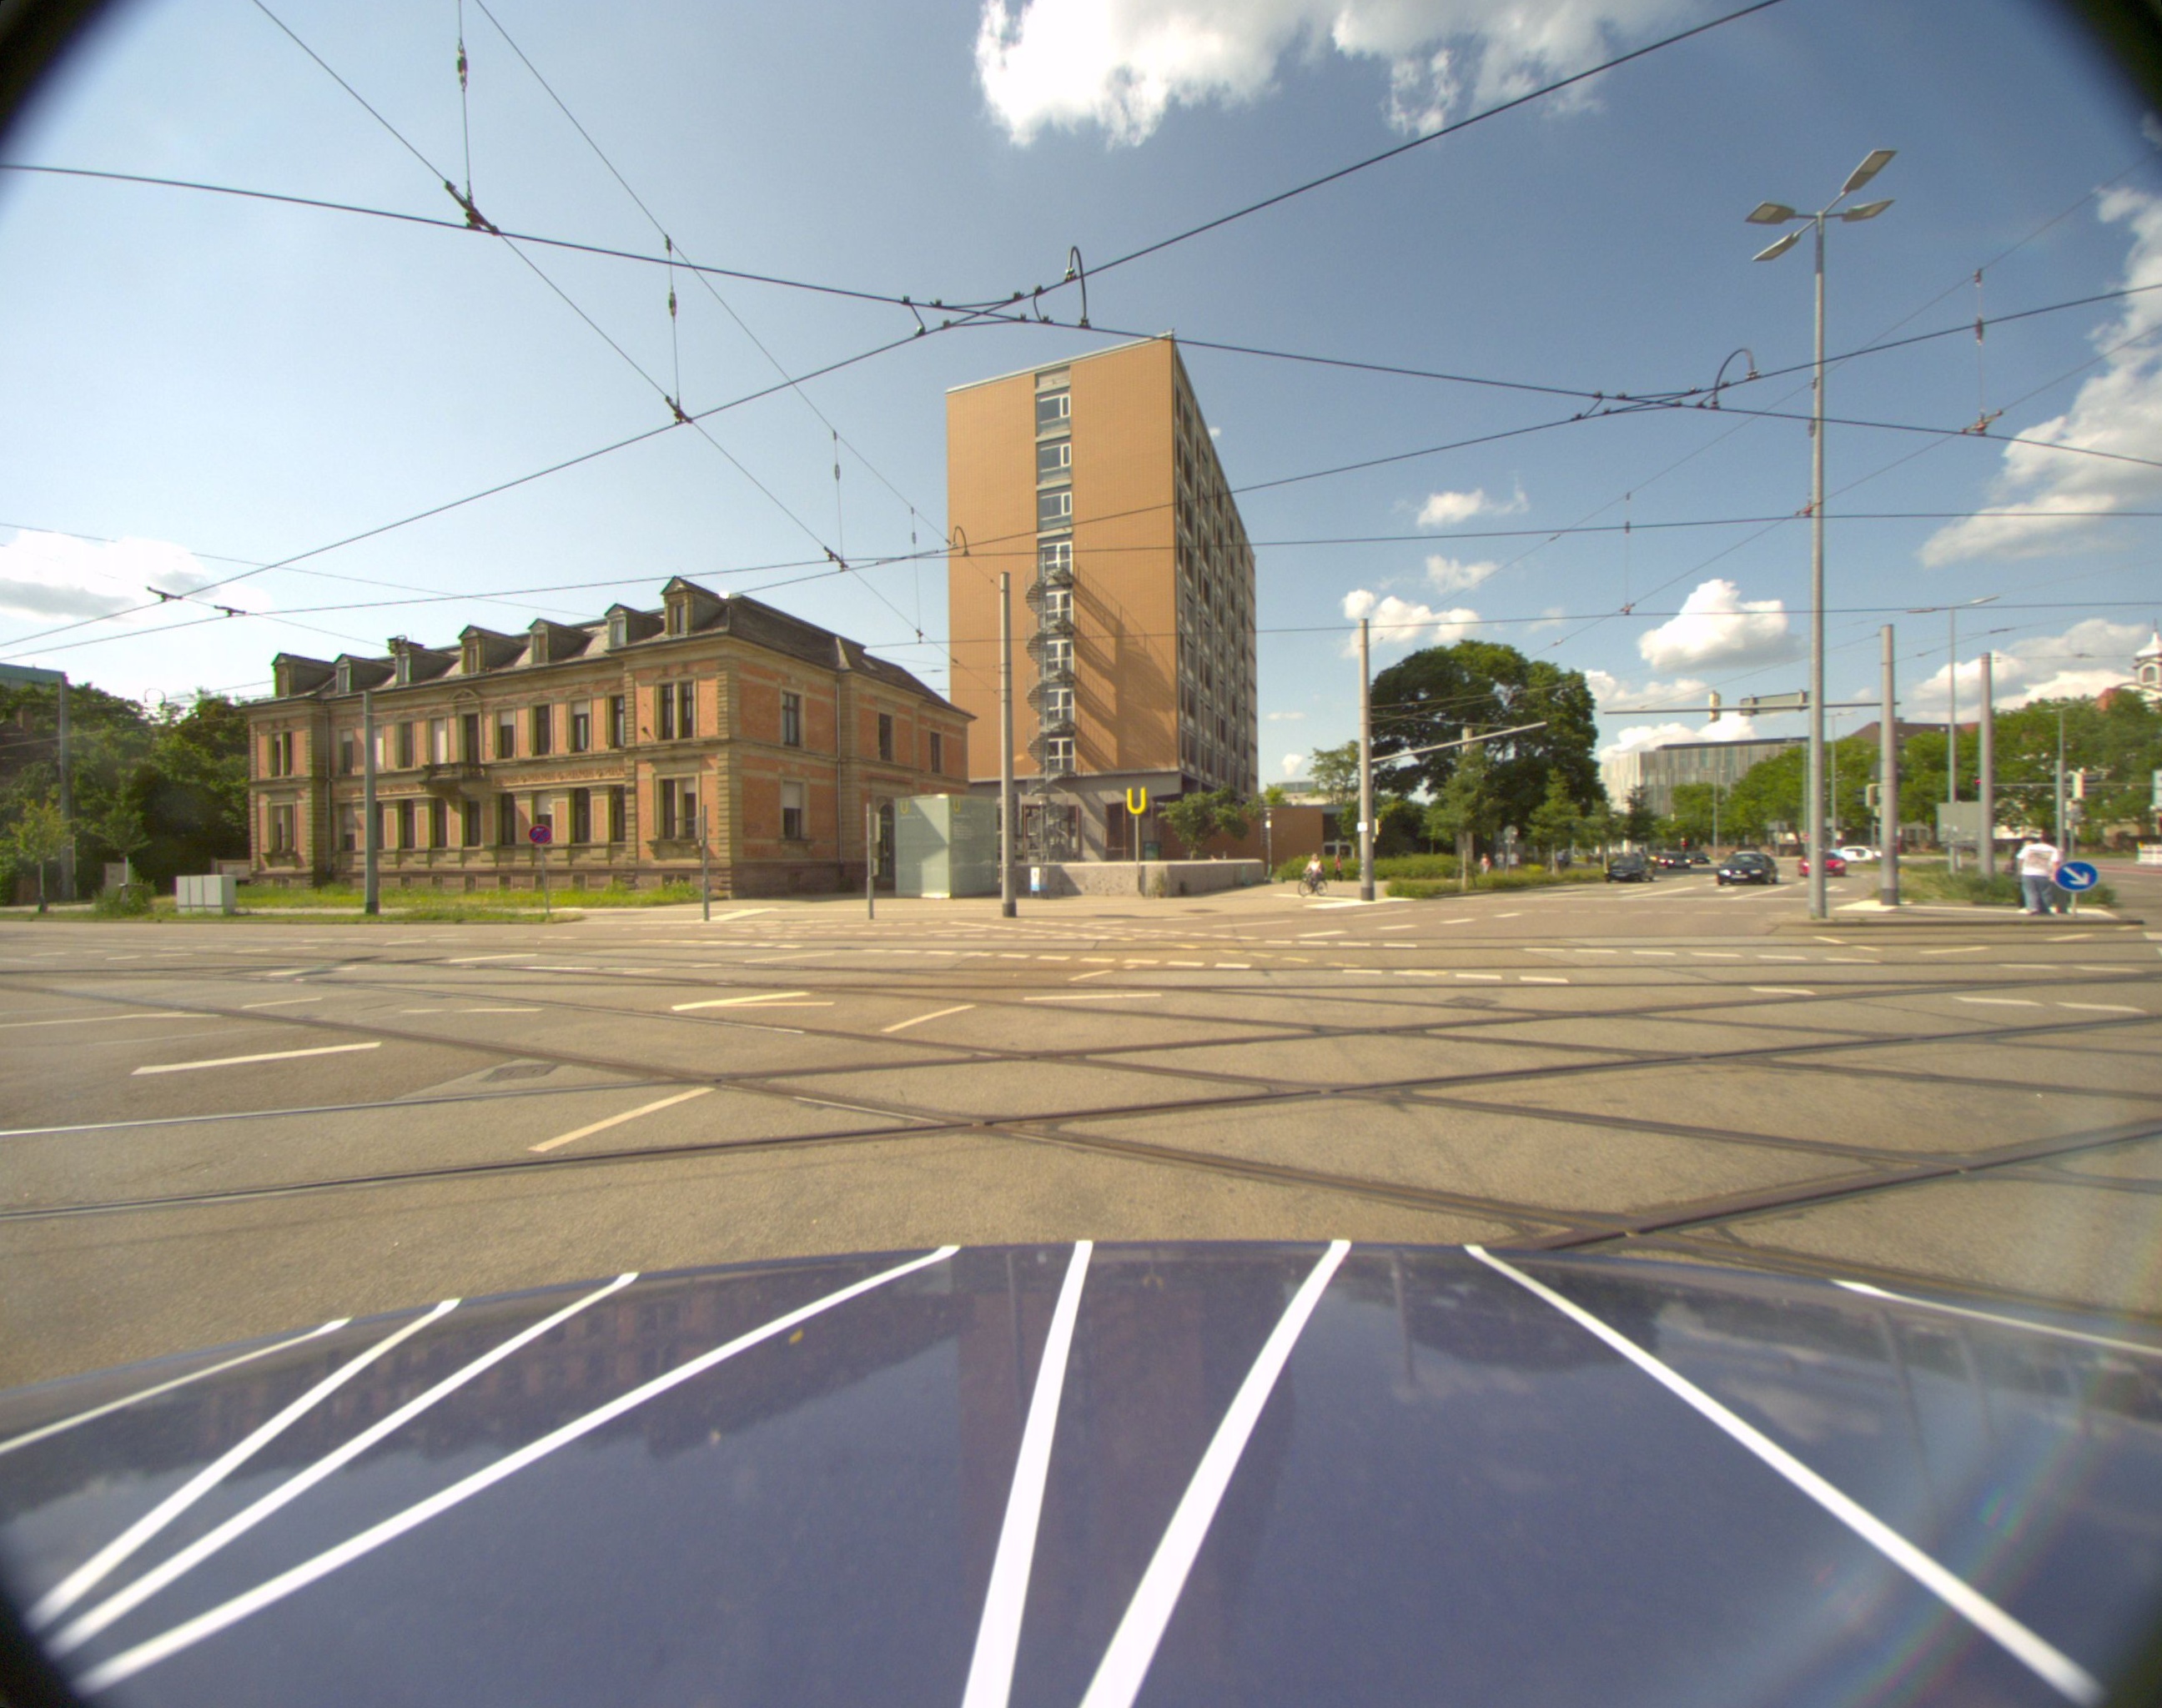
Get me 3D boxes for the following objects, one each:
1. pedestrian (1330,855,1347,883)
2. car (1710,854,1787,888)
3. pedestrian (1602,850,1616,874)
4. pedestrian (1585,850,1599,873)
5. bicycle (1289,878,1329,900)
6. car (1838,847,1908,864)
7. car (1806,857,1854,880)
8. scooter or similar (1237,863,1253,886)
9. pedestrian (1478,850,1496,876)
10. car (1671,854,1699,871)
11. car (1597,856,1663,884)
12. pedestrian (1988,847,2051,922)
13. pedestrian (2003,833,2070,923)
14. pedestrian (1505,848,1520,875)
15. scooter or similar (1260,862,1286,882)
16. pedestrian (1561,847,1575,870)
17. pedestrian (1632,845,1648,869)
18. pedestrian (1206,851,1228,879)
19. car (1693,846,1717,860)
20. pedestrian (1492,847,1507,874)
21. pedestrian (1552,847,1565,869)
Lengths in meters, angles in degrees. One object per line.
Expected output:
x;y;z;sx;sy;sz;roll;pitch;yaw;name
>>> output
15.371;0.907;45.360;0.888;1.613;0.616;1;3;13;pedestrian
30.590;0.755;34.804;4.007;1.454;1.822;-1;-1;-37;car
40.186;0.615;57.877;0.766;1.724;0.720;-3;-1;38;pedestrian
39.175;0.606;58.271;0.766;1.724;0.720;-3;-1;38;pedestrian
9.514;1.447;31.715;1.826;0.876;0.647;0;1;-38;bicycle
71.471;0.169;68.646;1.781;1.346;3.993;-2;-1;-22;car
41.318;0.808;41.883;3.636;1.127;1.594;-1;-1;-41;car
8.453;1.050;39.126;0.465;1.111;1.449;1;1;26;scooter or similar
25.108;0.545;46.973;0.891;1.613;0.614;-2;3;-40;pedestrian
54.686;0.783;68.761;1.822;1.454;4.008;-2;-1;41;car
31.090;0.877;42.993;4.007;1.454;1.822;-1;-1;-36;car
21.489;0.678;17.410;0.694;1.638;0.848;-2;2;-44;pedestrian
20.908;0.515;16.649;0.694;1.906;0.848;-2;2;-44;pedestrian
27.716;0.443;48.773;0.614;1.691;0.891;2;3;40;pedestrian
10.515;1.000;41.679;1.317;1.097;0.466;0;1;0;scooter or similar
37.671;0.331;58.799;0.742;1.744;0.891;2;3;40;pedestrian
47.691;0.273;64.814;0.963;2.001;0.770;-3;-1;44;pedestrian
8.024;0.655;44.759;1.097;1.613;0.615;0;3;-13;pedestrian
69.396;-0.087;84.556;1.905;1.426;4.111;-2;-1;38;car
27.150;0.433;49.283;0.614;1.691;0.891;2;3;40;pedestrian
37.305;0.304;59.353;0.742;1.737;0.891;2;3;40;pedestrian
